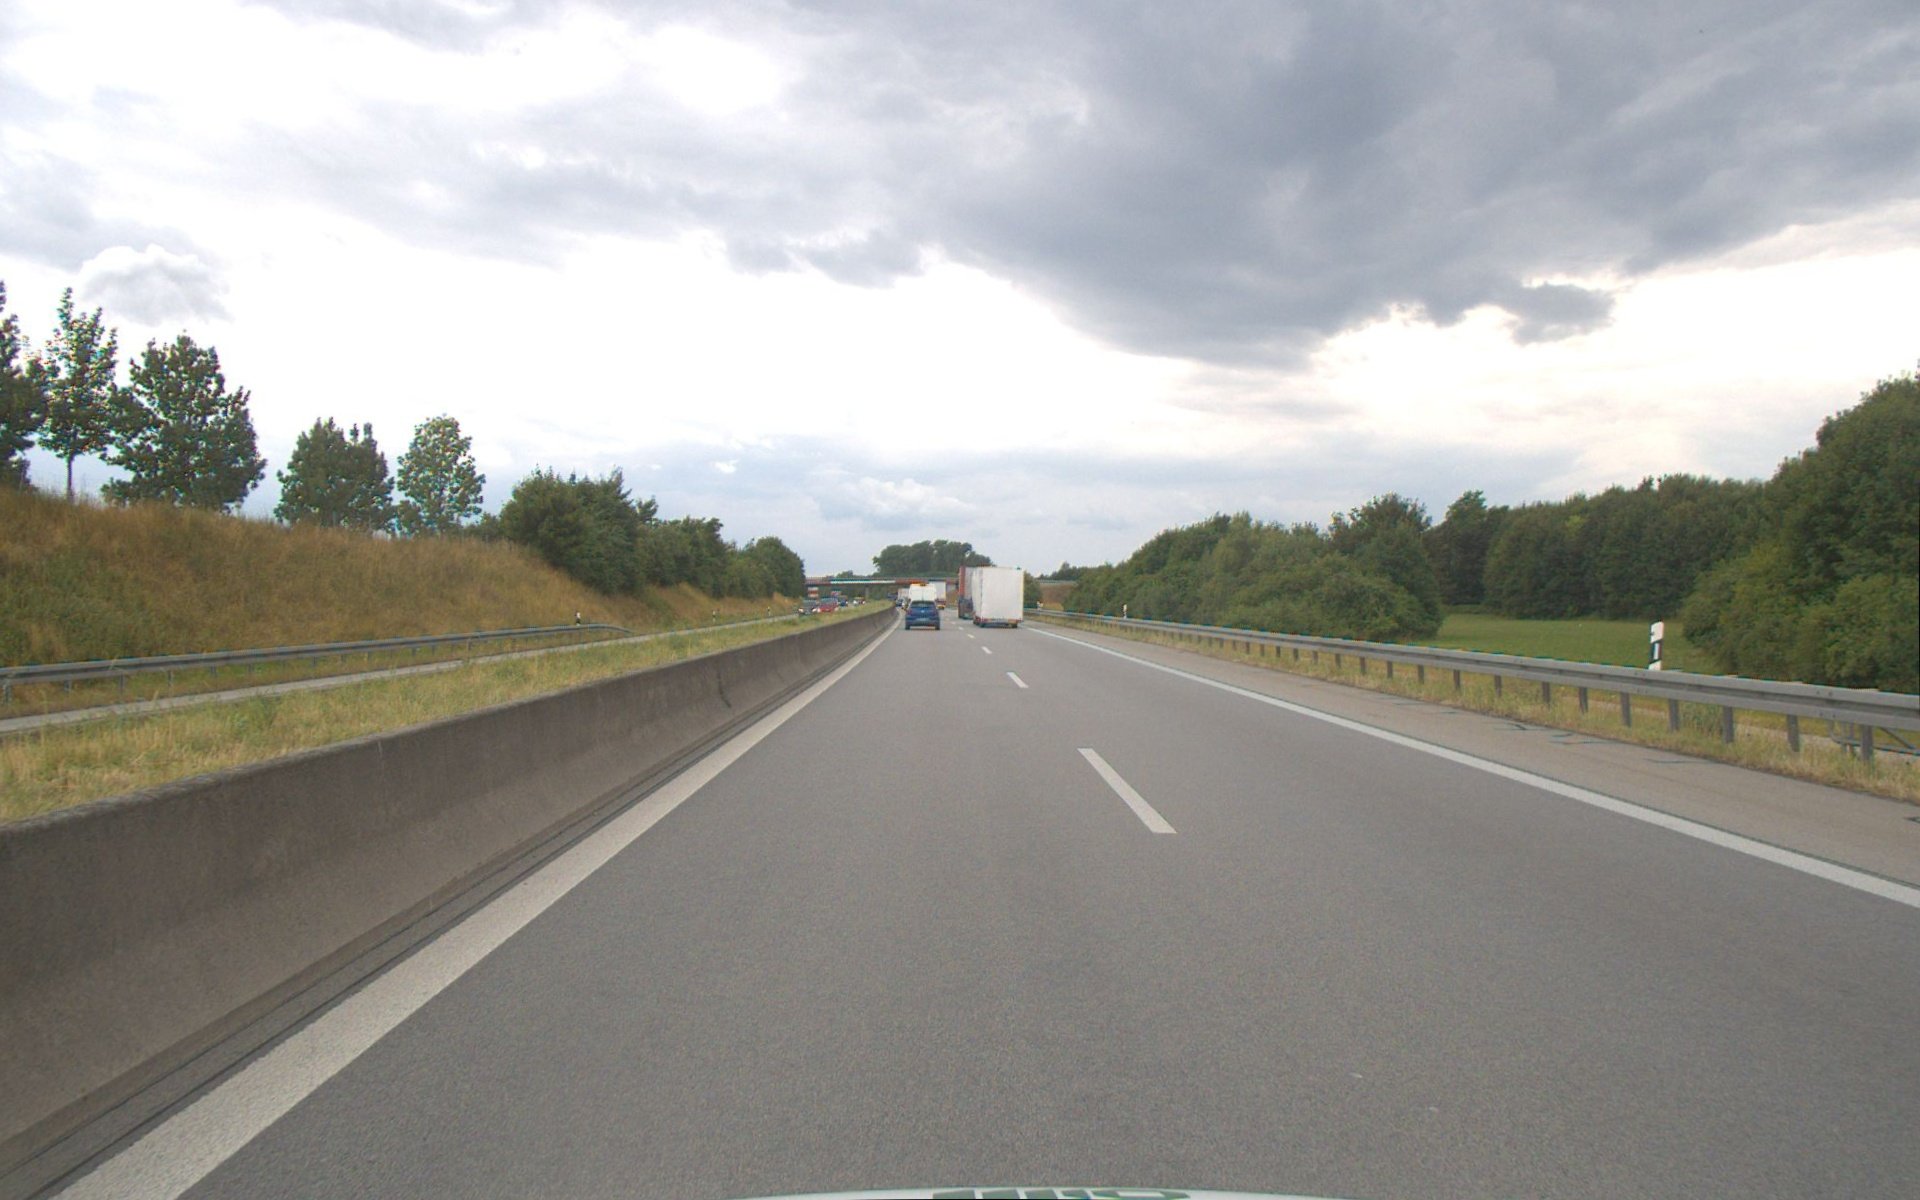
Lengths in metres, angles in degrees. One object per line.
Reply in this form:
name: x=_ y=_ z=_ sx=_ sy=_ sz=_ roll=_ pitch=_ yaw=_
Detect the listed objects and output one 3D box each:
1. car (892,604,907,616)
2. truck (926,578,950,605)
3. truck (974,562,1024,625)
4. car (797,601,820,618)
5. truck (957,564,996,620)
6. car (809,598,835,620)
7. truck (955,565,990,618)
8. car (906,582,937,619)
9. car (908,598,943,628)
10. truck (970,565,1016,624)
car: x=-8.742 y=1.450 z=238.079 sx=1.954 sy=1.713 sz=3.997 roll=0 pitch=0 yaw=-4
truck: x=-3.186 y=-1.225 z=238.378 sx=3.048 sy=3.754 sz=9.317 roll=-2 pitch=0 yaw=-3
truck: x=2.059 y=-0.312 z=89.362 sx=2.366 sy=3.278 sz=7.141 roll=0 pitch=0 yaw=-1
car: x=-14.258 y=0.898 z=155.827 sx=1.808 sy=1.523 sz=4.578 roll=-3 pitch=0 yaw=-1
truck: x=1.189 y=-0.624 z=126.211 sx=2.619 sy=4.116 sz=11.104 roll=-1 pitch=0 yaw=-1
car: x=-11.033 y=0.706 z=132.601 sx=1.808 sy=1.599 sz=4.360 roll=-2 pitch=0 yaw=-1
truck: x=0.981 y=-0.661 z=131.550 sx=2.619 sy=4.116 sz=5.511 roll=-1 pitch=0 yaw=-1
car: x=-2.763 y=0.042 z=117.271 sx=2.087 sy=2.526 sz=5.837 roll=0 pitch=0 yaw=-2
car: x=-1.670 y=0.607 z=80.249 sx=1.630 sy=1.432 sz=3.647 roll=0 pitch=0 yaw=-1
truck: x=1.902 y=-0.284 z=96.551 sx=2.380 sy=3.300 sz=7.245 roll=0 pitch=0 yaw=-1
